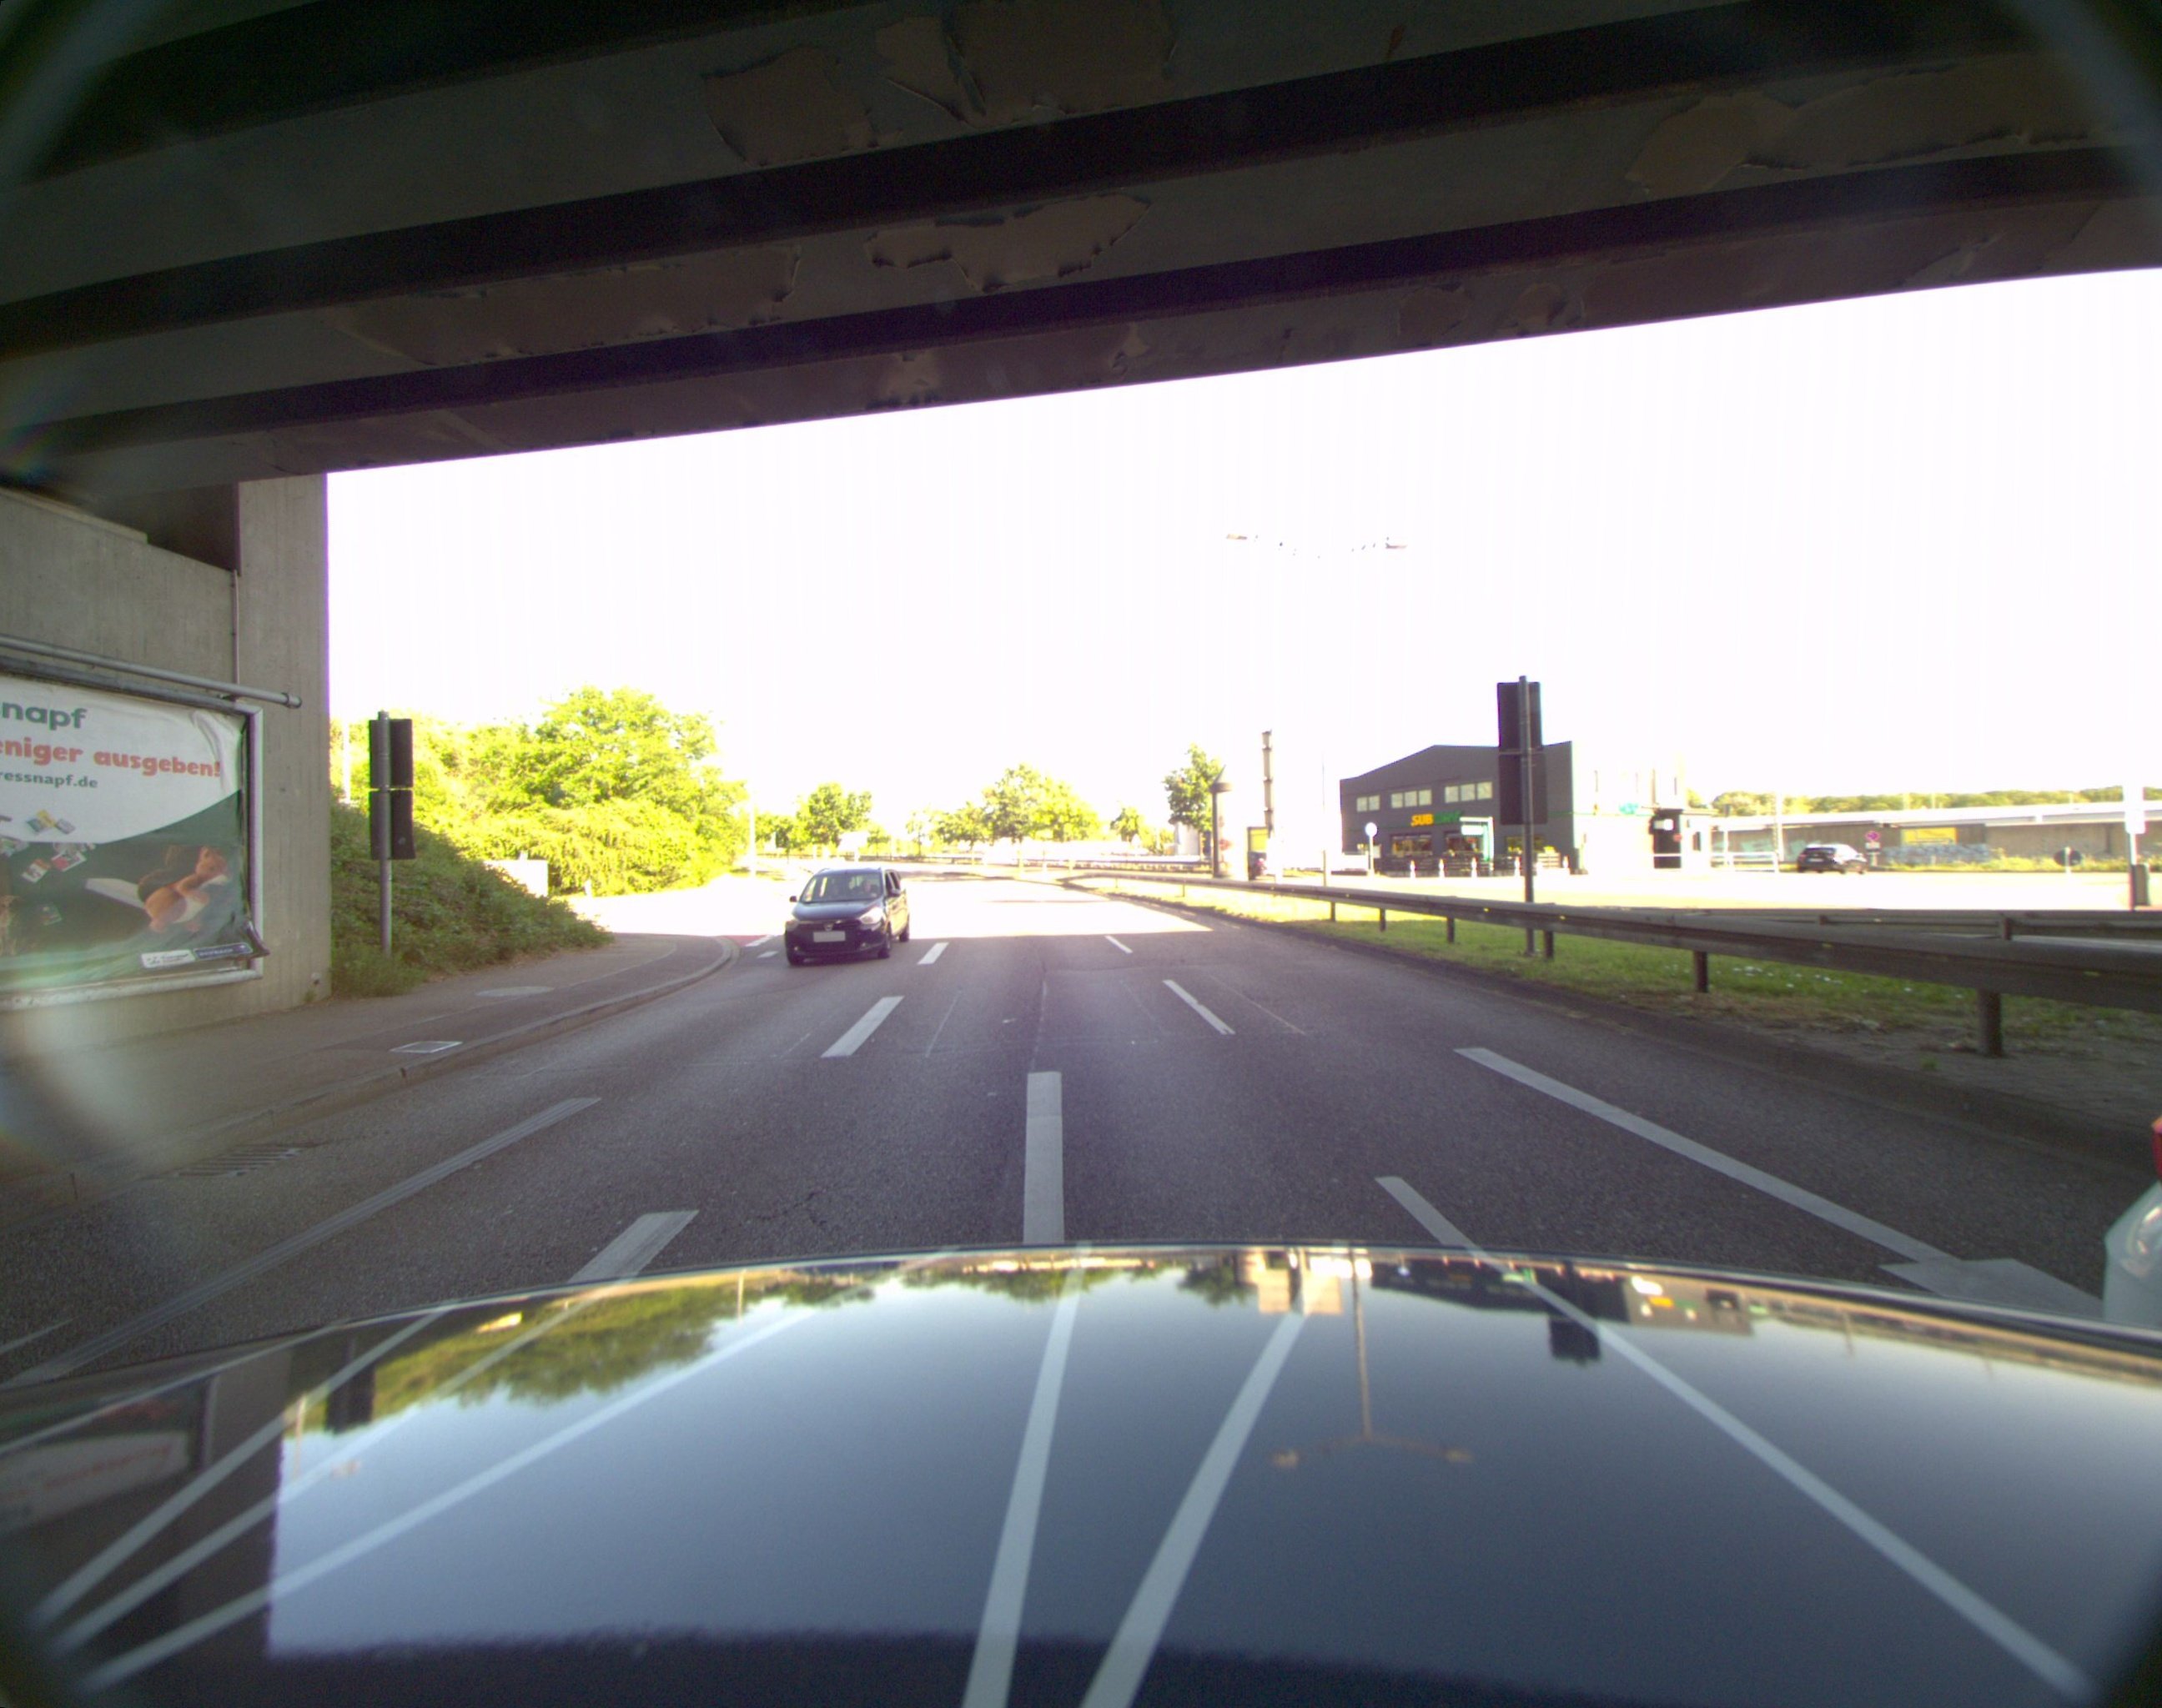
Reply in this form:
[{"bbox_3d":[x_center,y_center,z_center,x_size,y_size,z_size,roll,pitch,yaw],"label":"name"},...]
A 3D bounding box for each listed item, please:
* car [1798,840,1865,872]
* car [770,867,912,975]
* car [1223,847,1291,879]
[{"bbox_3d":[38.398,0.094,38.855,4.007,1.434,1.878,-3,1,-37],"label":"car"},{"bbox_3d":[-4.354,1.124,14.438,1.780,1.591,4.102,-3,1,-7],"label":"car"},{"bbox_3d":[9.806,0.479,42.586,1.858,1.607,4.359,-3,1,-14],"label":"car"}]
